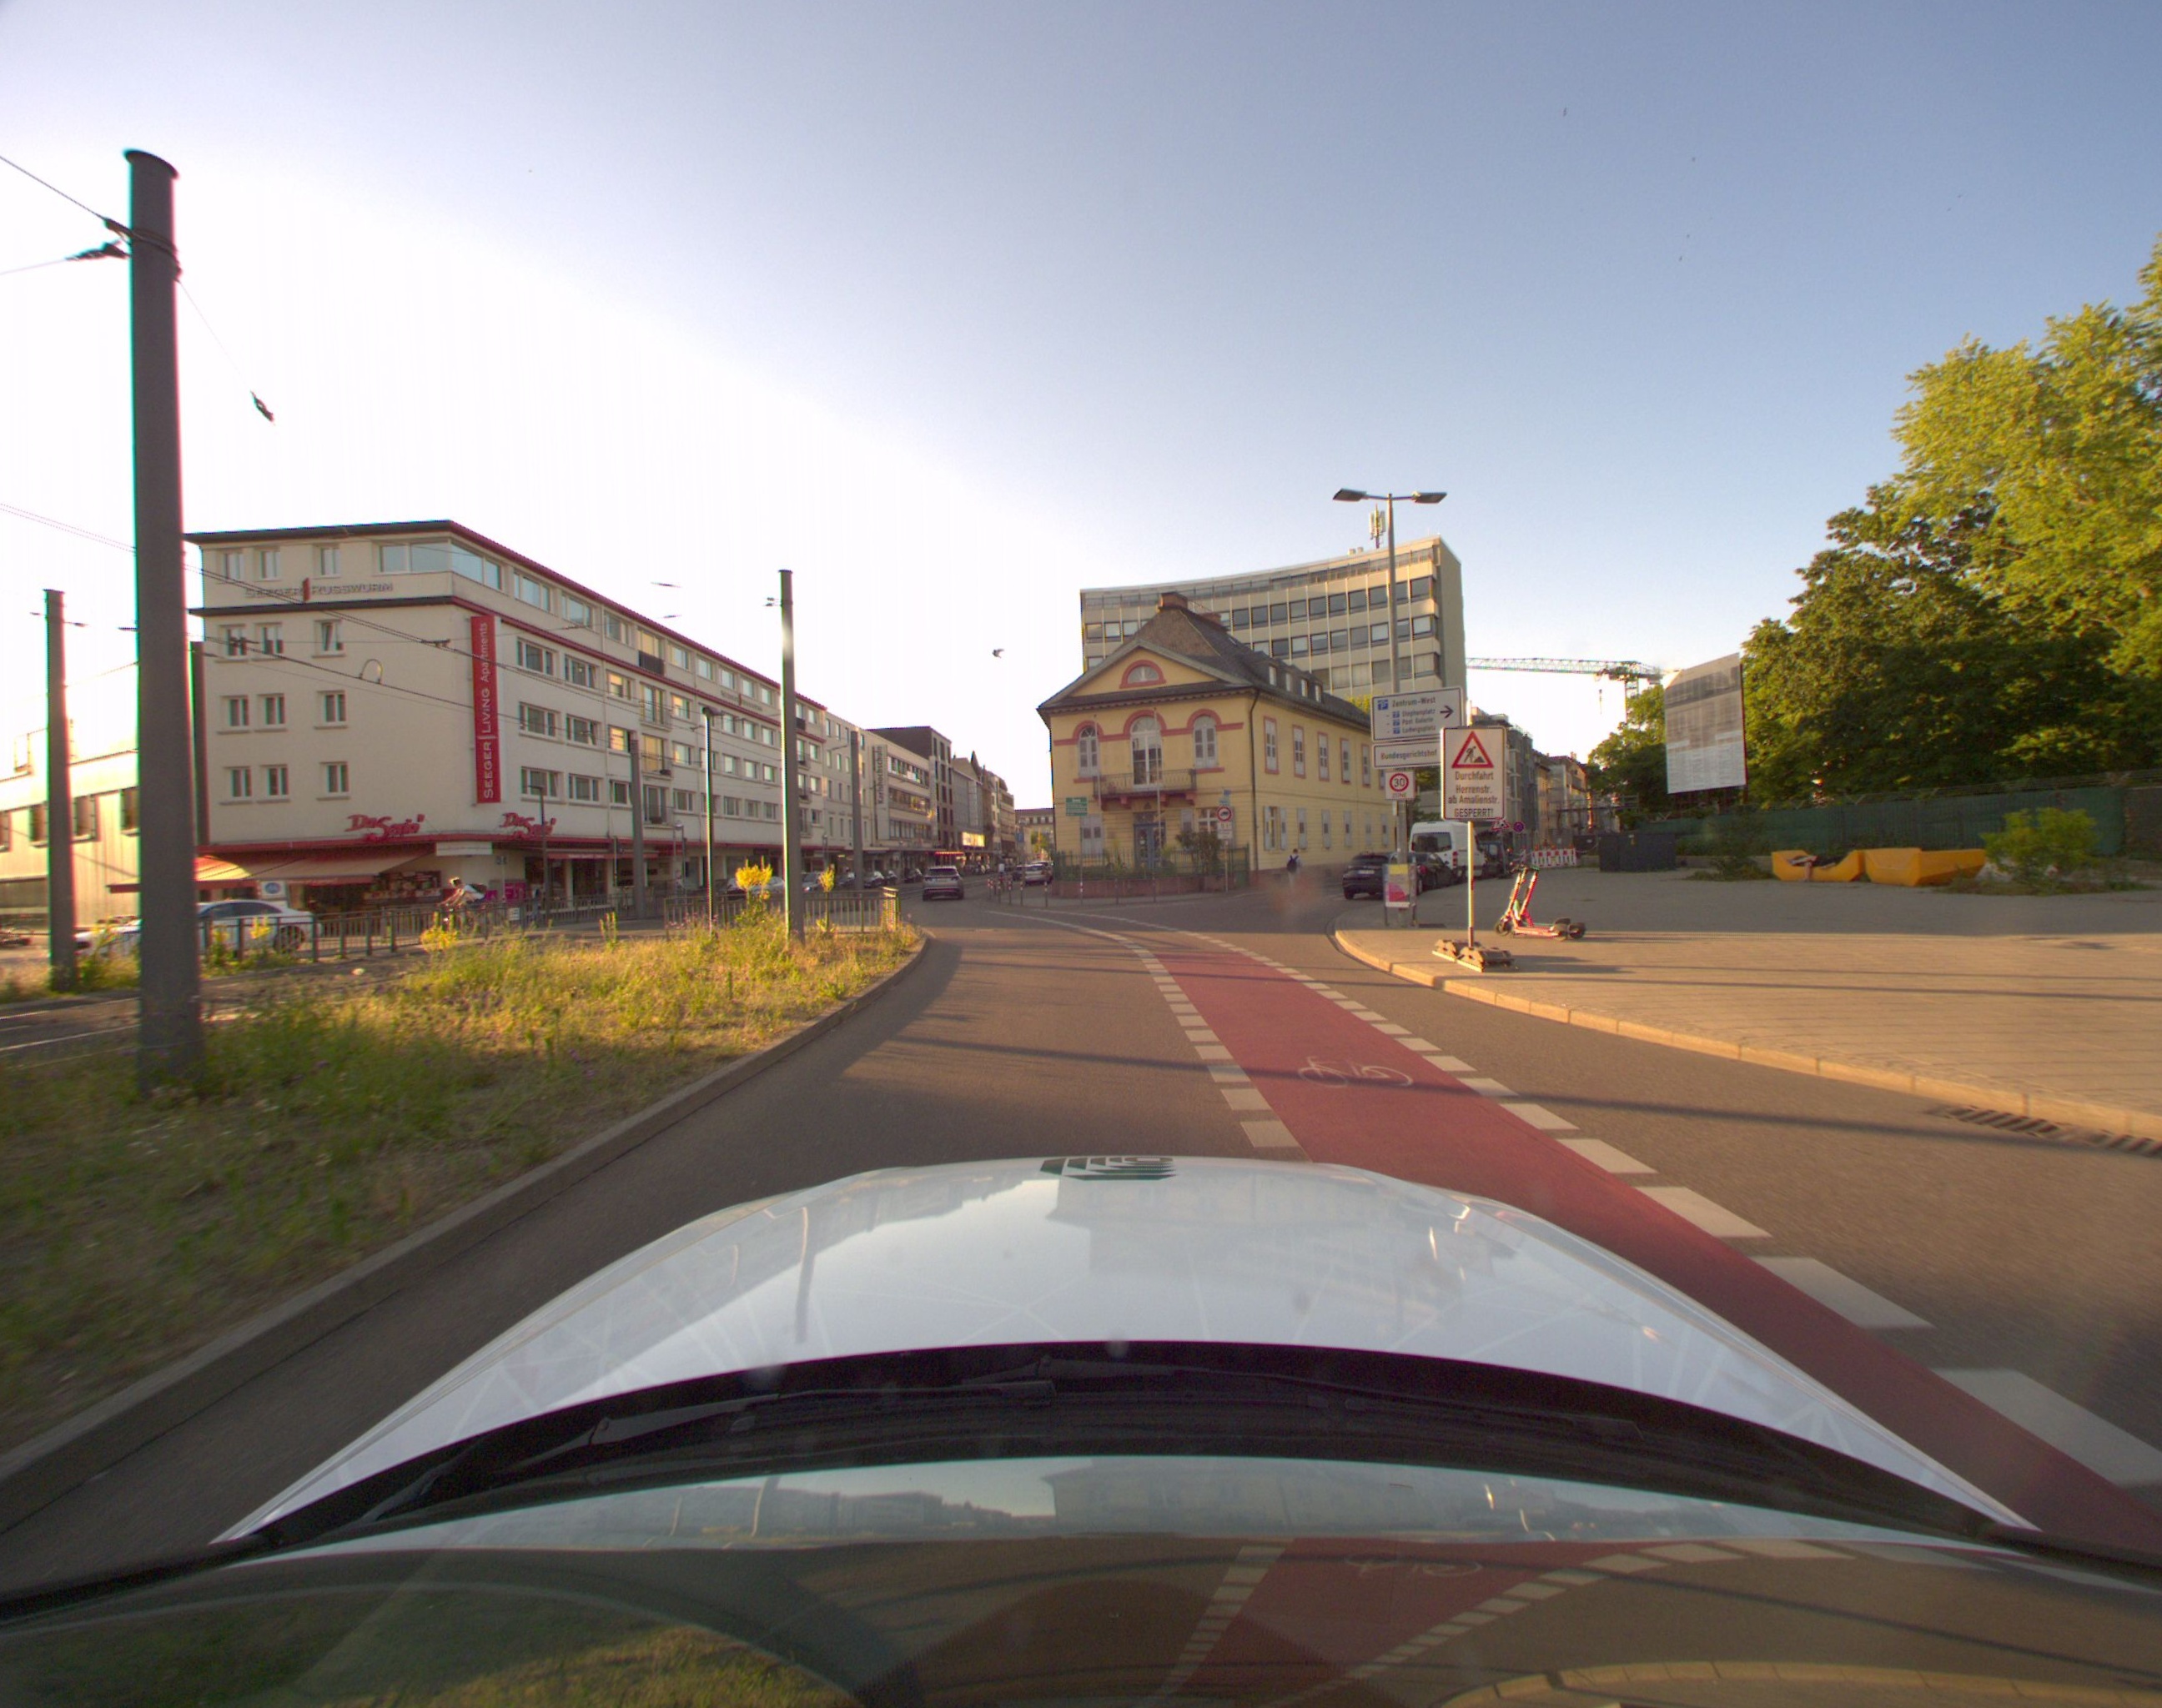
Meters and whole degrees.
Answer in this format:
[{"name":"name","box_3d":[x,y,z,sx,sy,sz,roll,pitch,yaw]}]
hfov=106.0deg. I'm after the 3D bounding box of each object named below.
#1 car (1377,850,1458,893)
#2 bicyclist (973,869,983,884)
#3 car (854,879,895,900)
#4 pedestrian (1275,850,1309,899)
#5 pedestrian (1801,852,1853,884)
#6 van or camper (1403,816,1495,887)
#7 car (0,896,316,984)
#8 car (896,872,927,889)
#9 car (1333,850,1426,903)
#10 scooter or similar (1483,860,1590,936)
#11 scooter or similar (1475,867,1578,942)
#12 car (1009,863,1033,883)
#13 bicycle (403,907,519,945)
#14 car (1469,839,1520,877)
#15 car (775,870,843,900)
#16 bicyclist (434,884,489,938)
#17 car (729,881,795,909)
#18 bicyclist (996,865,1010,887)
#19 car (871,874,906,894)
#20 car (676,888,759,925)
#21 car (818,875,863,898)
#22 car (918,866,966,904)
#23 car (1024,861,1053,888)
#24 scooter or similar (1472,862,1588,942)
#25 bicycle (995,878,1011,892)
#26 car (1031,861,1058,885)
[{"name":"car","box_3d":[12.659,0.626,30.471,1.712,1.429,4.503,-2,0,36]},{"name":"bicyclist","box_3d":[-14.707,3.216,116.582,1.162,2.014,1.045,-2,-1,0]},{"name":"car","box_3d":[-18.015,3.087,71.348,1.983,1.665,4.646,-1,-1,6]},{"name":"pedestrian","box_3d":[7.721,0.739,29.798,0.868,1.724,0.835,-2,0,40]},{"name":"pedestrian","box_3d":[22.280,0.418,24.345,0.561,0.893,0.976,-2,-1,-17]},{"name":"van or camper","box_3d":[16.060,-0.123,35.316,2.057,2.775,6.491,-3,-1,38]},{"name":"car","box_3d":[-21.639,1.930,19.421,2.024,1.441,4.669,-5,0,6]},{"name":"car","box_3d":[-17.910,2.813,86.288,1.983,1.665,4.007,-2,0,6]},{"name":"car","box_3d":[9.833,0.689,26.661,1.761,1.543,4.318,-2,0,35]},{"name":"scooter or similar","box_3d":[8.057,0.764,14.441,1.507,1.260,0.616,-3,-1,44]},{"name":"scooter or similar","box_3d":[7.407,0.825,13.567,1.386,1.166,0.464,-3,-1,44]},{"name":"car","box_3d":[-5.639,1.760,76.986,1.801,1.809,4.001,-2,-1,2]},{"name":"bicycle","box_3d":[-17.351,2.010,22.867,0.836,0.846,2.437,-3,-1,28]},{"name":"car","box_3d":[22.118,0.194,43.494,1.696,1.848,4.048,-2,0,37]},{"name":"car","box_3d":[-16.353,1.832,49.279,2.186,1.559,4.289,-2,0,7]},{"name":"bicyclist","box_3d":[-17.384,1.581,22.858,0.824,1.441,0.936,-3,-1,28]},{"name":"car","box_3d":[-19.870,2.520,50.976,1.983,1.465,4.409,-2,0,6]},{"name":"bicyclist","box_3d":[-5.673,1.619,59.209,0.826,1.568,0.787,-2,-1,0]},{"name":"car","box_3d":[-18.272,2.850,77.462,1.983,1.665,4.006,-2,-1,6]},{"name":"car","box_3d":[-20.090,2.864,45.320,1.983,1.665,4.848,-2,0,6]},{"name":"car","box_3d":[-19.208,2.557,65.244,1.983,1.665,4.007,-2,0,6]},{"name":"car","box_3d":[-6.695,1.457,39.628,1.940,1.661,4.527,-2,0,-5]},{"name":"car","box_3d":[-2.948,1.420,57.150,1.726,1.708,3.439,-3,-1,1]},{"name":"scooter or similar","box_3d":[7.691,0.802,14.000,1.632,1.292,0.464,-2,-1,44]},{"name":"bicycle","box_3d":[-5.619,2.250,59.064,0.826,0.870,2.550,-2,-1,1]},{"name":"car","box_3d":[-2.784,1.440,62.349,1.726,1.708,3.806,-2,-1,1]}]
